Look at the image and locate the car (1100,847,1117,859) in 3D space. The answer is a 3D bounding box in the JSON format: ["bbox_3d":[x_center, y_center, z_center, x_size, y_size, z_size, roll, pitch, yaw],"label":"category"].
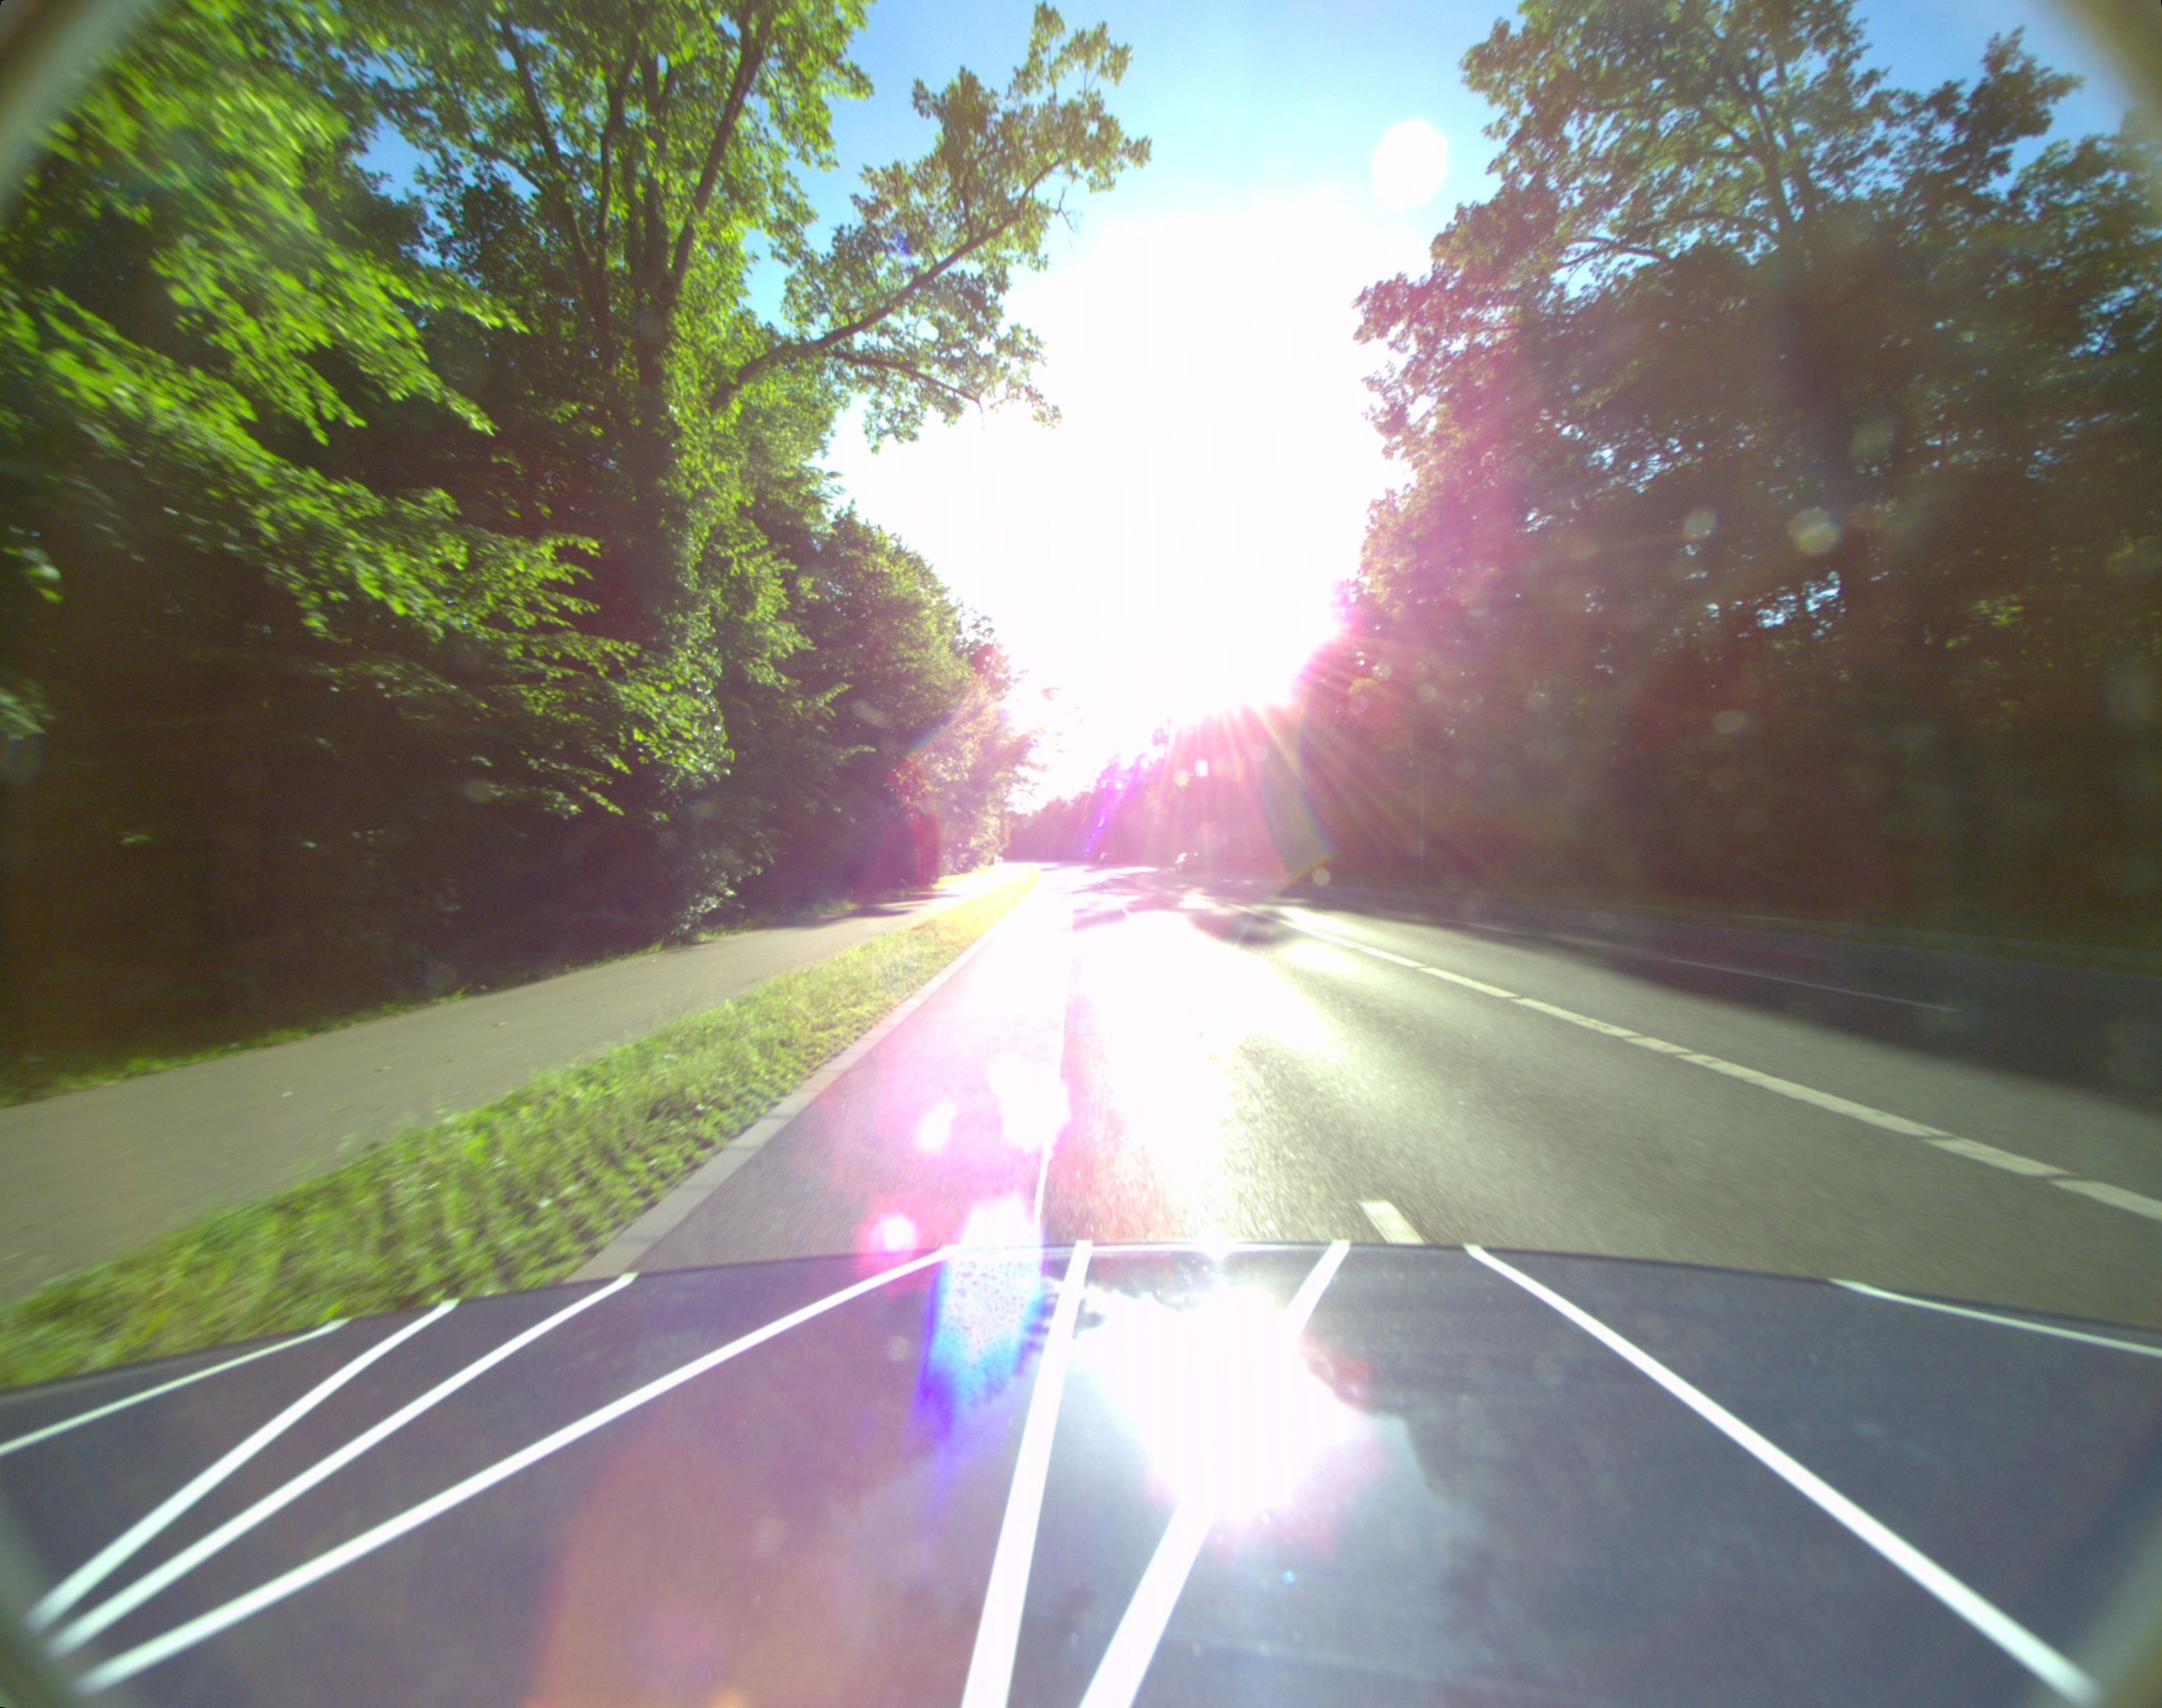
[{"bbox_3d":[4.009,-0.112,109.662,1.813,1.653,4.519,-1,0,-6],"label":"car"}]

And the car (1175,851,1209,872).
[{"bbox_3d":[7.912,0.516,54.287,1.714,1.415,4.129,-1,0,-1],"label":"car"}]
